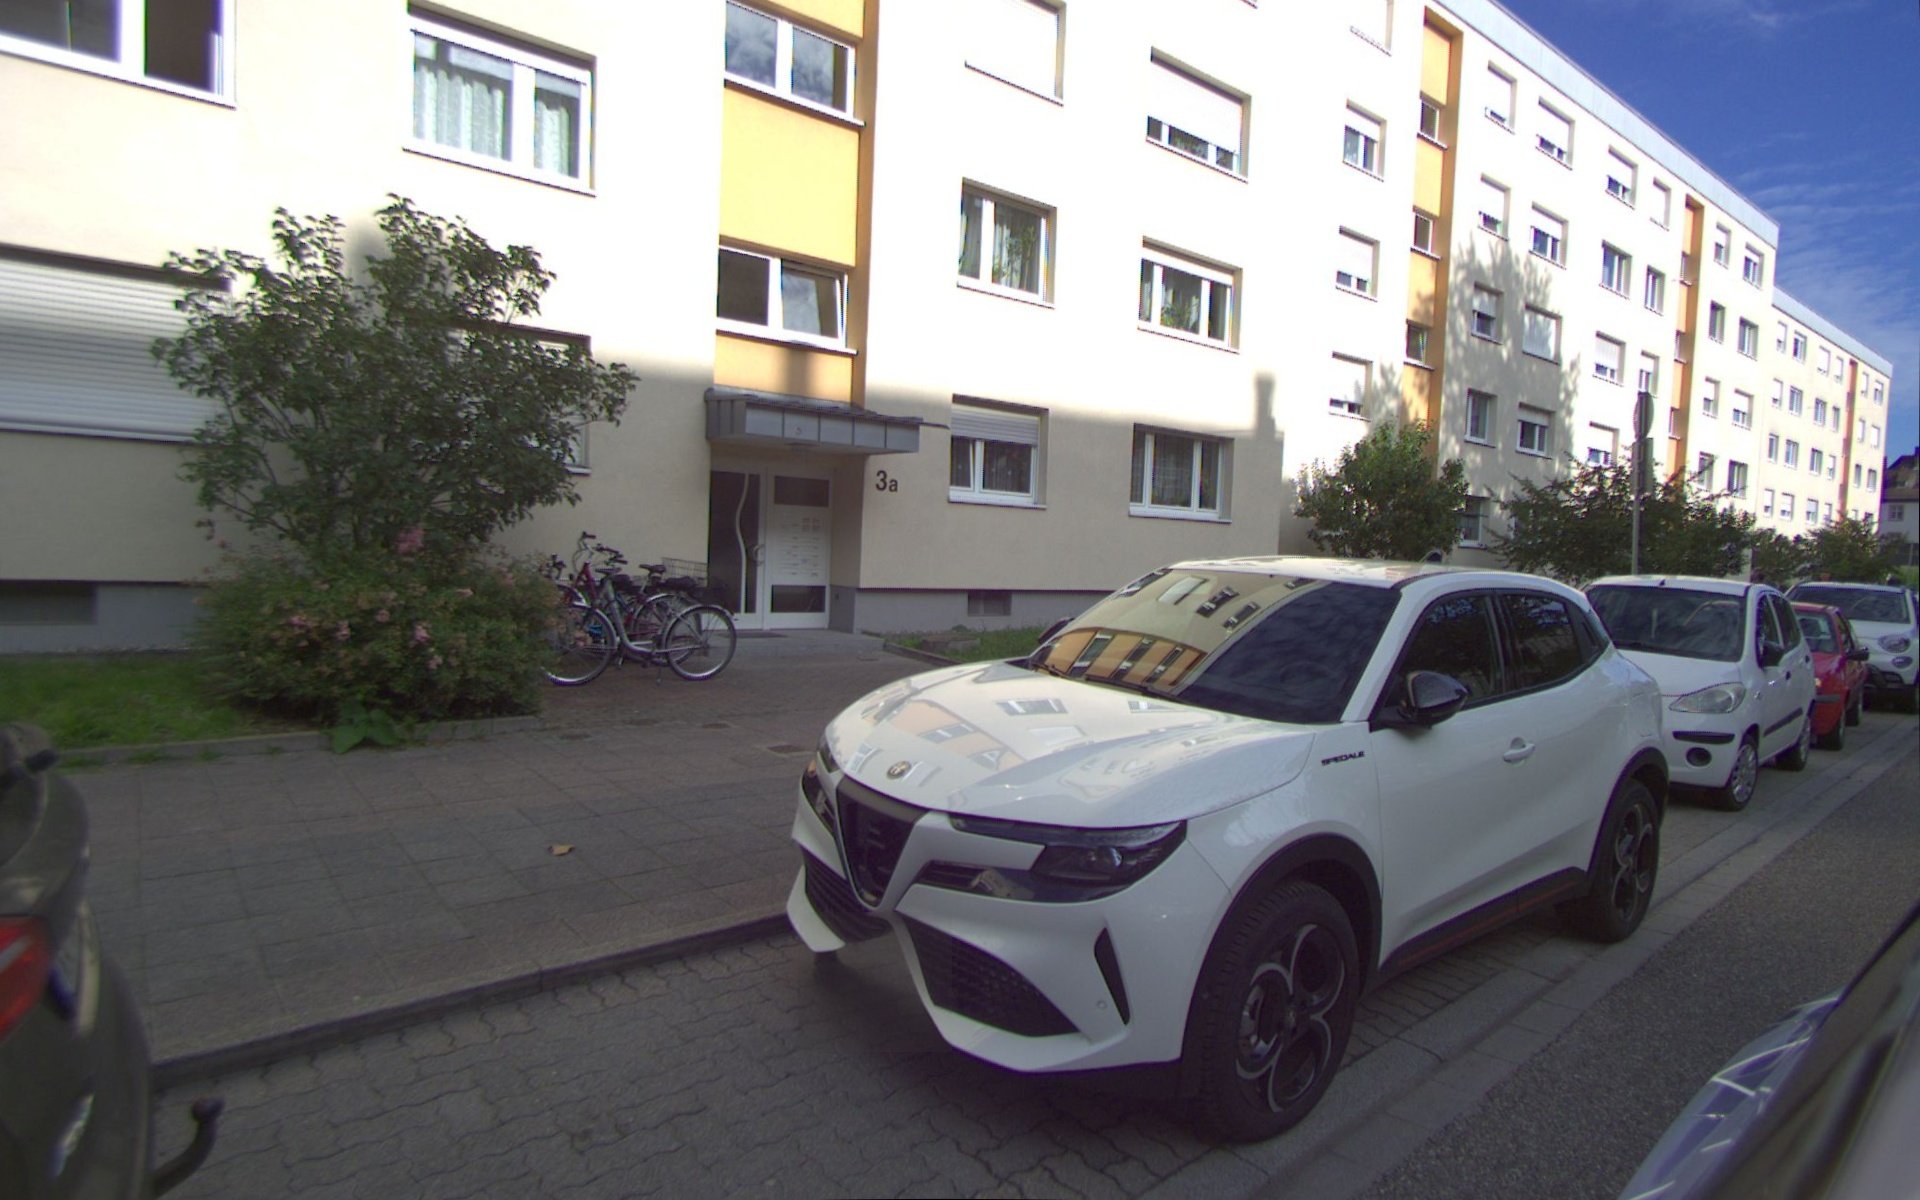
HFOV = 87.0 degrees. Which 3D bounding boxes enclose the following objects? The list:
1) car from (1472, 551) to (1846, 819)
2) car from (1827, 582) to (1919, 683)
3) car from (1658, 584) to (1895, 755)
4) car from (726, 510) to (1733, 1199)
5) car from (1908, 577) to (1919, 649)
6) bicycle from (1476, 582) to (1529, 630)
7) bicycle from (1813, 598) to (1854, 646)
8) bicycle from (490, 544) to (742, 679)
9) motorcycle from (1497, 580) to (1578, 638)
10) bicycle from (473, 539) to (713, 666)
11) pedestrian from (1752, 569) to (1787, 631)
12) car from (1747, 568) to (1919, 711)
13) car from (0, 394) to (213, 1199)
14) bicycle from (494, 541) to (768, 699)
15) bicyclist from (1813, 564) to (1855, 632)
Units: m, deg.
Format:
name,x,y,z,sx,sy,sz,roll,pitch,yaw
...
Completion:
name,x,y,z,sx,sy,sz,roll,pitch,yaw
car,5.572,0.494,7.931,3.408,1.575,1.555,0,5,-42
car,16.674,0.509,17.505,4.559,1.505,1.733,0,5,-40
car,8.798,0.588,10.804,3.617,1.414,1.517,-1,5,-45
car,1.377,0.536,4.040,4.160,1.547,1.695,0,3,-39
car,24.381,0.351,24.384,4.044,1.669,1.733,-1,5,-41
bicycle,11.539,0.123,21.518,1.491,0.952,0.459,0,4,-42
bicycle,22.424,0.543,25.967,1.896,1.149,0.524,0,3,-42
bicycle,-3.197,0.083,9.569,2.170,1.128,0.598,0,5,-41
motorcycle,11.666,0.159,20.409,2.353,1.057,0.632,0,5,-42
bicycle,-3.589,0.010,10.048,2.170,1.128,0.530,0,4,-41
pedestrian,23.256,-0.004,29.083,0.757,1.742,0.544,0,2,-36
car,12.350,0.426,13.891,4.048,1.599,1.732,-1,5,-43
car,-2.896,0.528,0.298,4.165,1.546,1.693,0,4,-42
bicycle,-2.805,0.141,8.821,2.170,1.200,0.599,0,6,-41
bicyclist,22.343,-0.056,25.874,0.877,1.698,0.624,0,3,-42
